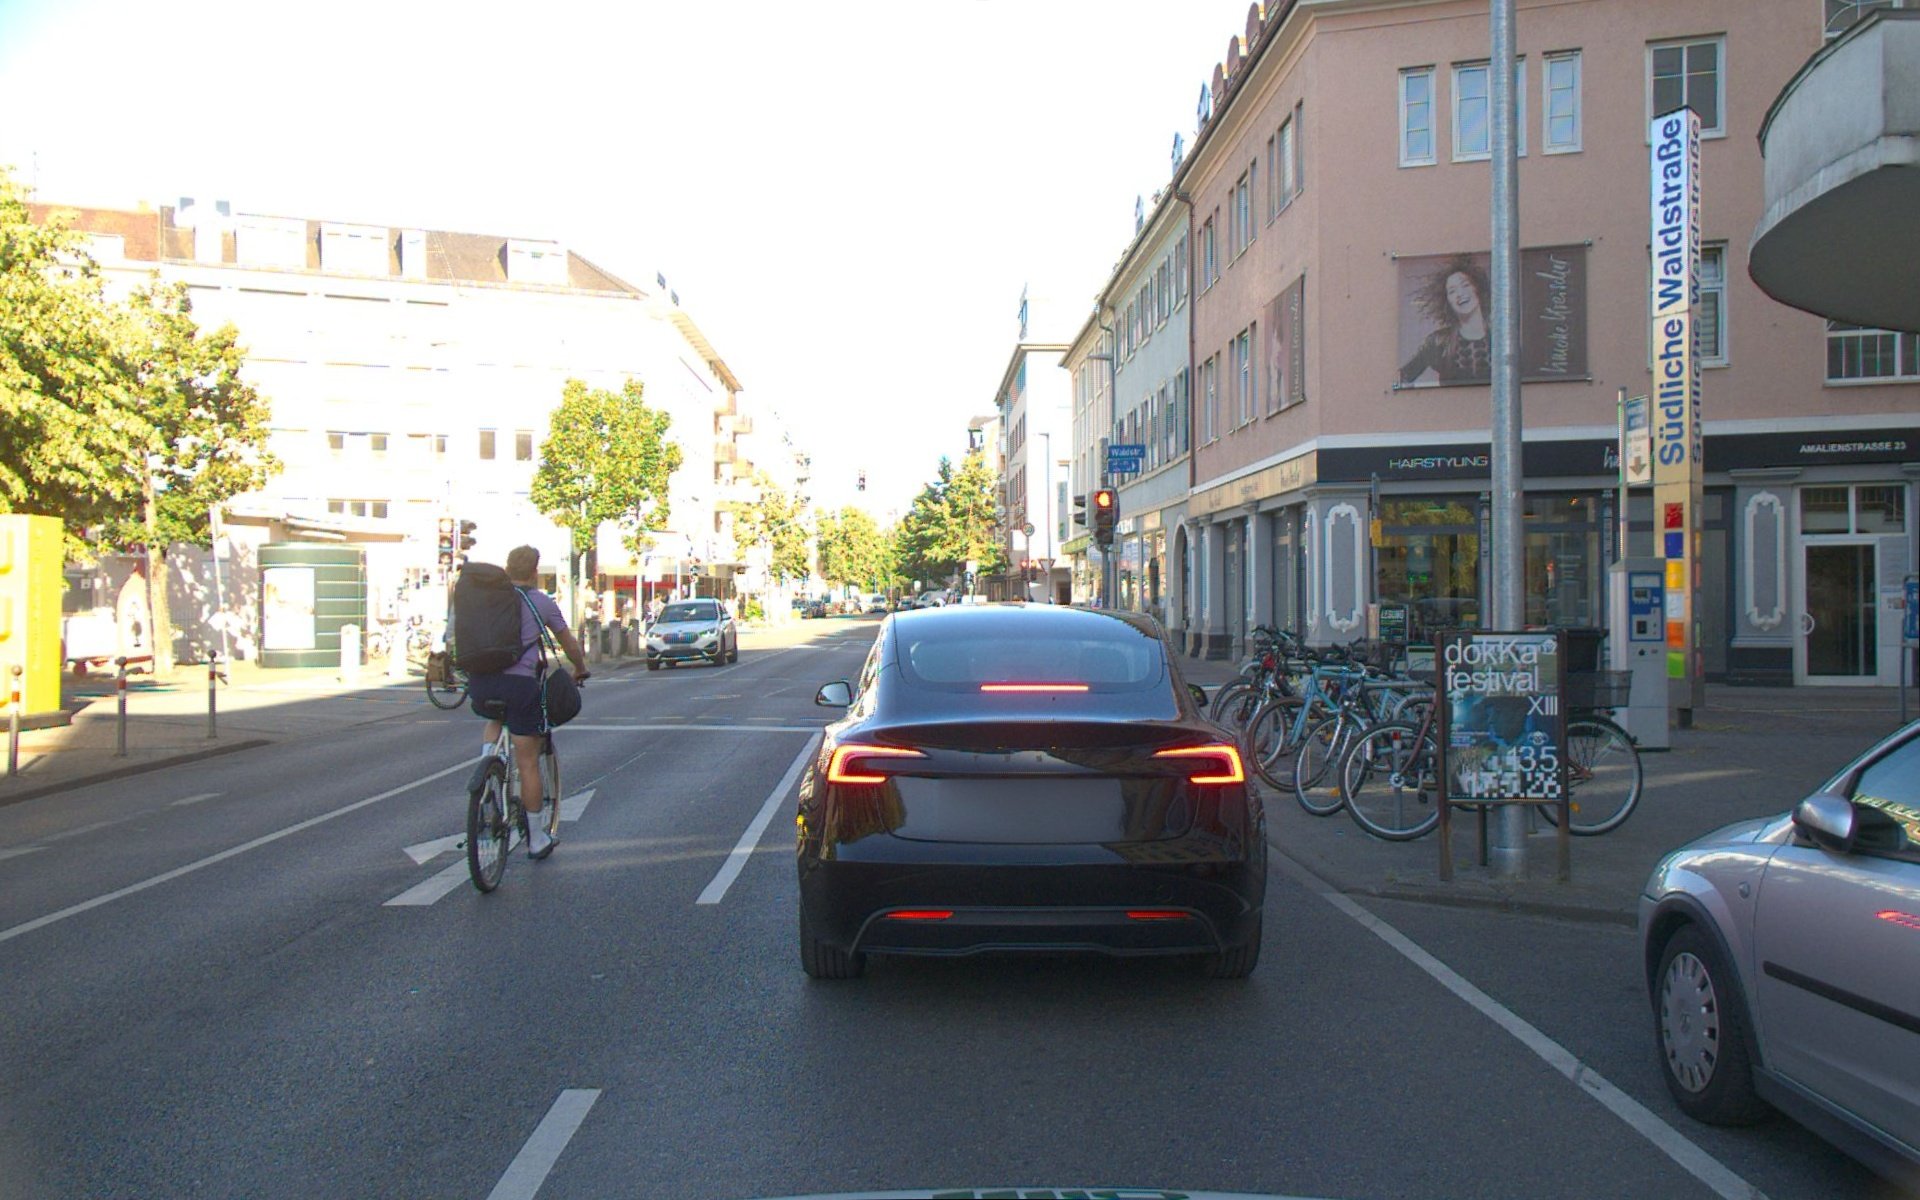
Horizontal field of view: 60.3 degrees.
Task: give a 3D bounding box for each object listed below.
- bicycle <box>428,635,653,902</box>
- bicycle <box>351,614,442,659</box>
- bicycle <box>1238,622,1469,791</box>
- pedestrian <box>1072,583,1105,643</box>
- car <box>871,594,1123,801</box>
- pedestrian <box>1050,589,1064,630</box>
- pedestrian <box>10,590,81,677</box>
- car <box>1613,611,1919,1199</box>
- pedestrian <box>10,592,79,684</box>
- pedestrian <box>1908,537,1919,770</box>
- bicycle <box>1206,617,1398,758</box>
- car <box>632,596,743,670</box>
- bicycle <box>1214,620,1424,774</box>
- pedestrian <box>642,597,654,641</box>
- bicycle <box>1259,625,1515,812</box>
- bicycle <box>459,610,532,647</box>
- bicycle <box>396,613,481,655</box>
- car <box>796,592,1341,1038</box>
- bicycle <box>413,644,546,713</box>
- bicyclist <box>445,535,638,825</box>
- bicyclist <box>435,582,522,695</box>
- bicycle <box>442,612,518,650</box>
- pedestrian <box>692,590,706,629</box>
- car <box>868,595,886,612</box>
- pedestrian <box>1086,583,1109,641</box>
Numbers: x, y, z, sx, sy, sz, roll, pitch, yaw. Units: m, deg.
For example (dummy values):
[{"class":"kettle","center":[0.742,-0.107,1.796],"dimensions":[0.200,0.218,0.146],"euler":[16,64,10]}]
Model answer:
[{"class":"bicycle","center":[-2.209,0.841,8.950],"dimensions":[0.780,1.254,1.773],"euler":[0,0,-1]},{"class":"bicycle","center":[-14.456,0.928,42.443],"dimensions":[2.040,1.123,0.806],"euler":[0,0,-1]},{"class":"bicycle","center":[2.936,0.789,12.401],"dimensions":[1.595,1.180,0.432],"euler":[-2,0,-2]},{"class":"pedestrian","center":[4.051,0.404,52.202],"dimensions":[0.979,1.883,0.615],"euler":[0,0,-1]},{"class":"car","center":[0.266,0.699,13.781],"dimensions":[1.812,1.480,3.786],"euler":[0,0,0]},{"class":"pedestrian","center":[4.064,0.389,69.178],"dimensions":[0.559,1.720,0.387],"euler":[0,0,-1]},{"class":"pedestrian","center":[-17.759,0.641,32.133],"dimensions":[0.966,1.665,0.737],"euler":[0,0,3]},{"class":"car","center":[2.916,0.751,3.438],"dimensions":[1.588,1.419,3.886],"euler":[0,0,0]},{"class":"pedestrian","center":[-17.715,0.722,32.016],"dimensions":[0.882,1.755,0.744],"euler":[0,0,3]},{"class":"pedestrian","center":[7.265,0.367,11.791],"dimensions":[0.622,1.661,0.654],"euler":[-2,-1,-41]},{"class":"bicycle","center":[3.049,0.773,14.789],"dimensions":[1.594,1.180,0.433],"euler":[-2,0,0]},{"class":"car","center":[-6.455,0.739,39.557],"dimensions":[1.953,1.567,3.999],"euler":[-3,0,-1]},{"class":"bicycle","center":[2.932,0.786,13.558],"dimensions":[1.595,1.180,0.432],"euler":[-2,0,-2]},{"class":"pedestrian","center":[-11.751,0.713,62.355],"dimensions":[0.378,1.619,0.705],"euler":[0,0,-5]},{"class":"bicycle","center":[2.886,0.788,11.224],"dimensions":[1.595,1.180,0.432],"euler":[-2,0,-2]},{"class":"bicycle","center":[-14.574,0.892,51.930],"dimensions":[2.040,1.123,0.806],"euler":[0,0,-1]},{"class":"bicycle","center":[-14.163,0.916,44.968],"dimensions":[2.040,1.123,0.806],"euler":[0,0,-1]},{"class":"car","center":[0.362,0.714,7.397],"dimensions":[1.812,1.480,3.786],"euler":[0,0,0]},{"class":"bicycle","center":[-7.242,1.172,24.941],"dimensions":[1.823,0.962,0.629],"euler":[1,0,10]},{"class":"bicyclist","center":[-2.208,0.400,8.838],"dimensions":[0.780,1.460,1.008],"euler":[0,0,-1]},{"class":"bicyclist","center":[-7.258,0.571,24.960],"dimensions":[1.096,1.683,0.629],"euler":[0,0,10]},{"class":"bicycle","center":[-14.431,0.933,49.738],"dimensions":[2.040,1.123,0.806],"euler":[0,0,-1]},{"class":"pedestrian","center":[-13.482,0.487,85.432],"dimensions":[0.613,2.049,0.707],"euler":[0,0,-1]},{"class":"car","center":[-8.420,0.357,168.946],"dimensions":[1.793,1.754,3.998],"euler":[0,0,-2]},{"class":"pedestrian","center":[4.351,0.375,52.334],"dimensions":[0.689,1.814,0.533],"euler":[0,0,-1]}]
